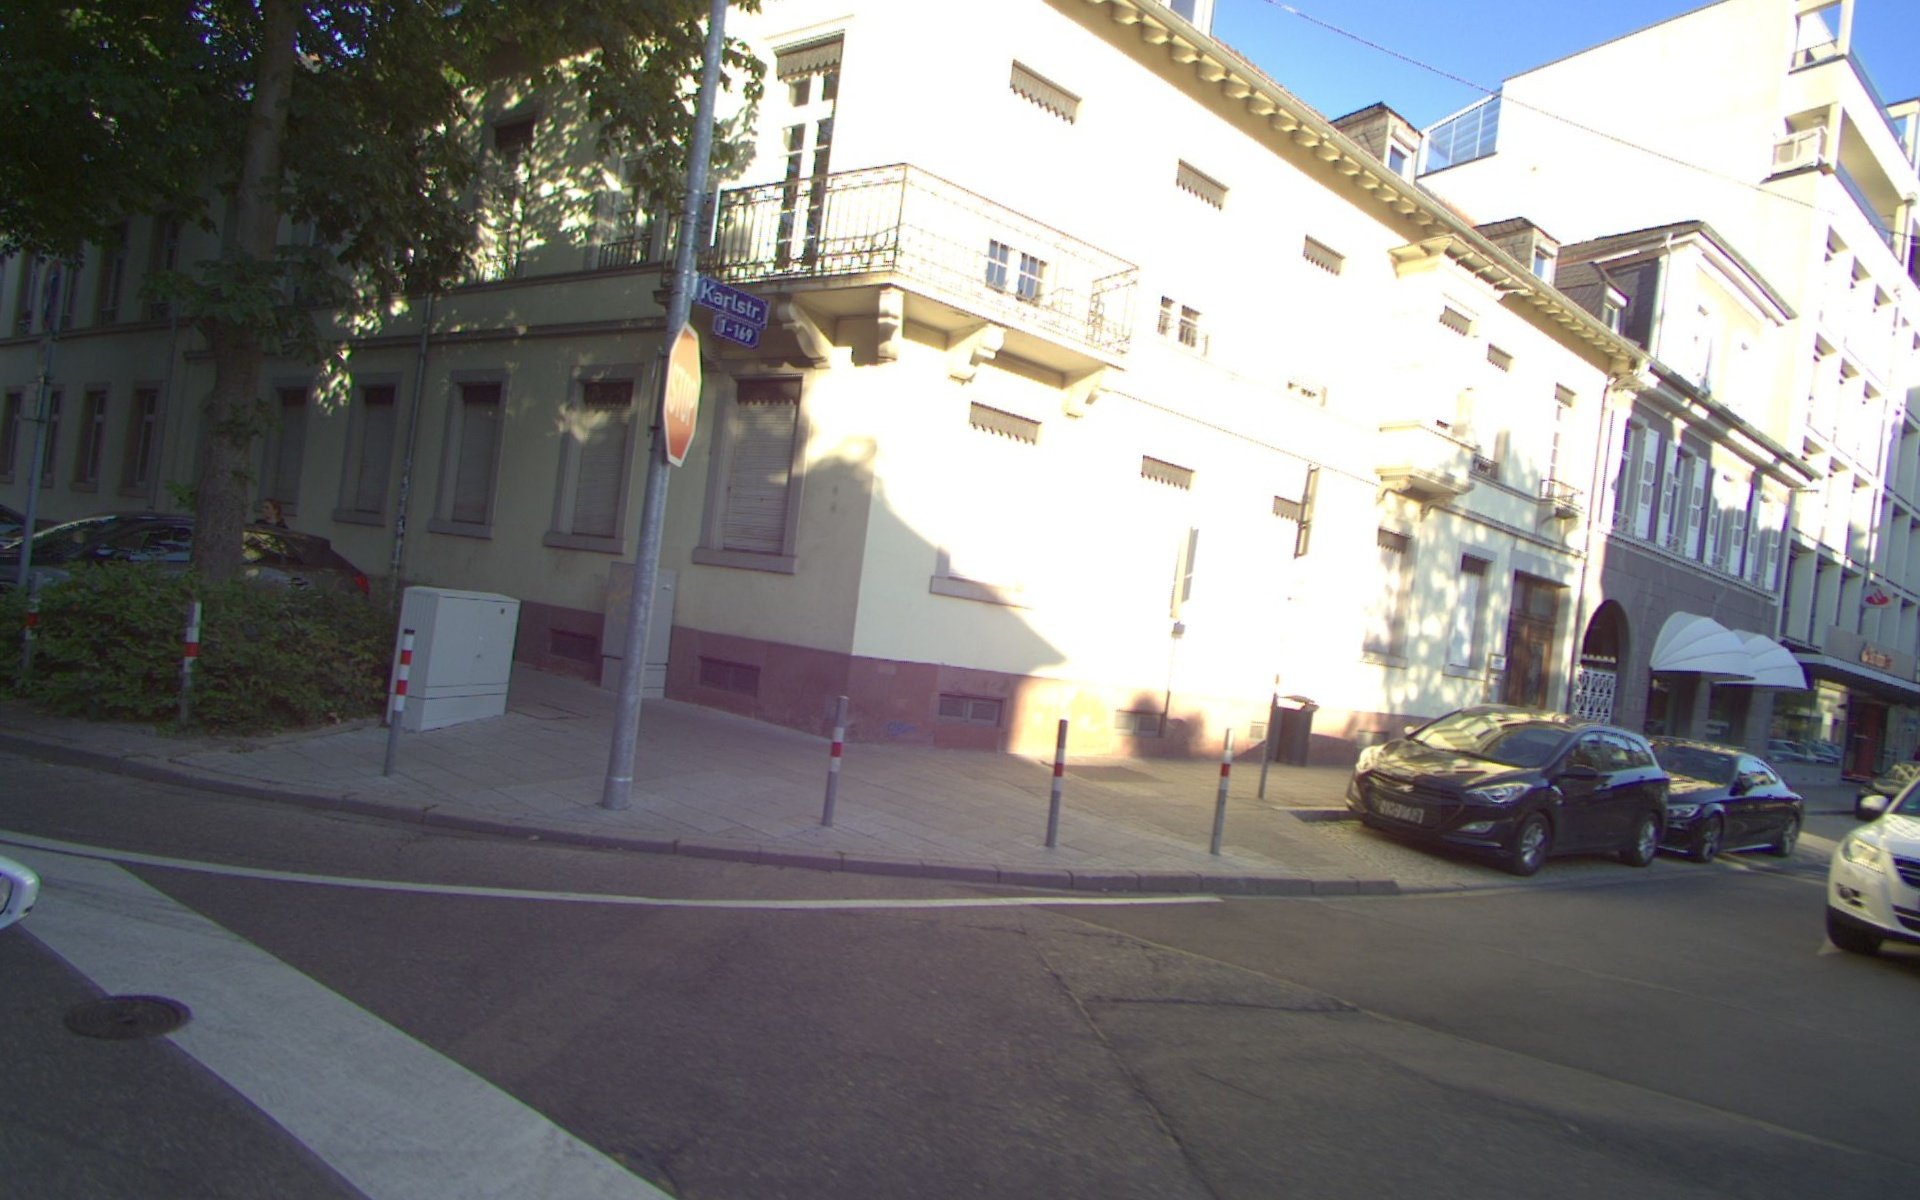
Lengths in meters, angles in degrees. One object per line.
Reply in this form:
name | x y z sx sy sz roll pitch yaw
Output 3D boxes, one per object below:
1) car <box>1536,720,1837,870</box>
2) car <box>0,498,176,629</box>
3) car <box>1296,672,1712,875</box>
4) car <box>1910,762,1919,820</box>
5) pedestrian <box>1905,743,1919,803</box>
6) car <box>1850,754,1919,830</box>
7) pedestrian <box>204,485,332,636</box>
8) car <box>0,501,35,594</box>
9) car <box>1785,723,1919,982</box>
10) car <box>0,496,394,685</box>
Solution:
car | 9.841 2.596 13.514 4.476 1.386 1.758 9 1 -35
car | -12.561 -0.578 12.351 1.821 1.498 4.196 7 0 32
car | 5.823 1.824 10.619 4.380 1.561 1.851 8 -1 -32
car | 25.717 4.979 25.289 4.145 1.386 1.759 8 -1 -35
pedestrian | 33.511 6.041 34.990 0.614 2.037 0.673 7 -1 -35
car | 21.434 4.287 22.145 4.145 1.386 1.759 8 -1 -35
pedestrian | -8.687 -0.485 12.648 0.769 1.727 0.944 8 0 34
car | -17.430 -1.096 15.681 1.751 1.497 4.022 7 -1 31
car | 8.484 2.045 7.842 4.163 1.675 1.880 8 -2 -32
car | -8.280 -0.084 10.034 1.819 1.508 4.116 8 -1 31
